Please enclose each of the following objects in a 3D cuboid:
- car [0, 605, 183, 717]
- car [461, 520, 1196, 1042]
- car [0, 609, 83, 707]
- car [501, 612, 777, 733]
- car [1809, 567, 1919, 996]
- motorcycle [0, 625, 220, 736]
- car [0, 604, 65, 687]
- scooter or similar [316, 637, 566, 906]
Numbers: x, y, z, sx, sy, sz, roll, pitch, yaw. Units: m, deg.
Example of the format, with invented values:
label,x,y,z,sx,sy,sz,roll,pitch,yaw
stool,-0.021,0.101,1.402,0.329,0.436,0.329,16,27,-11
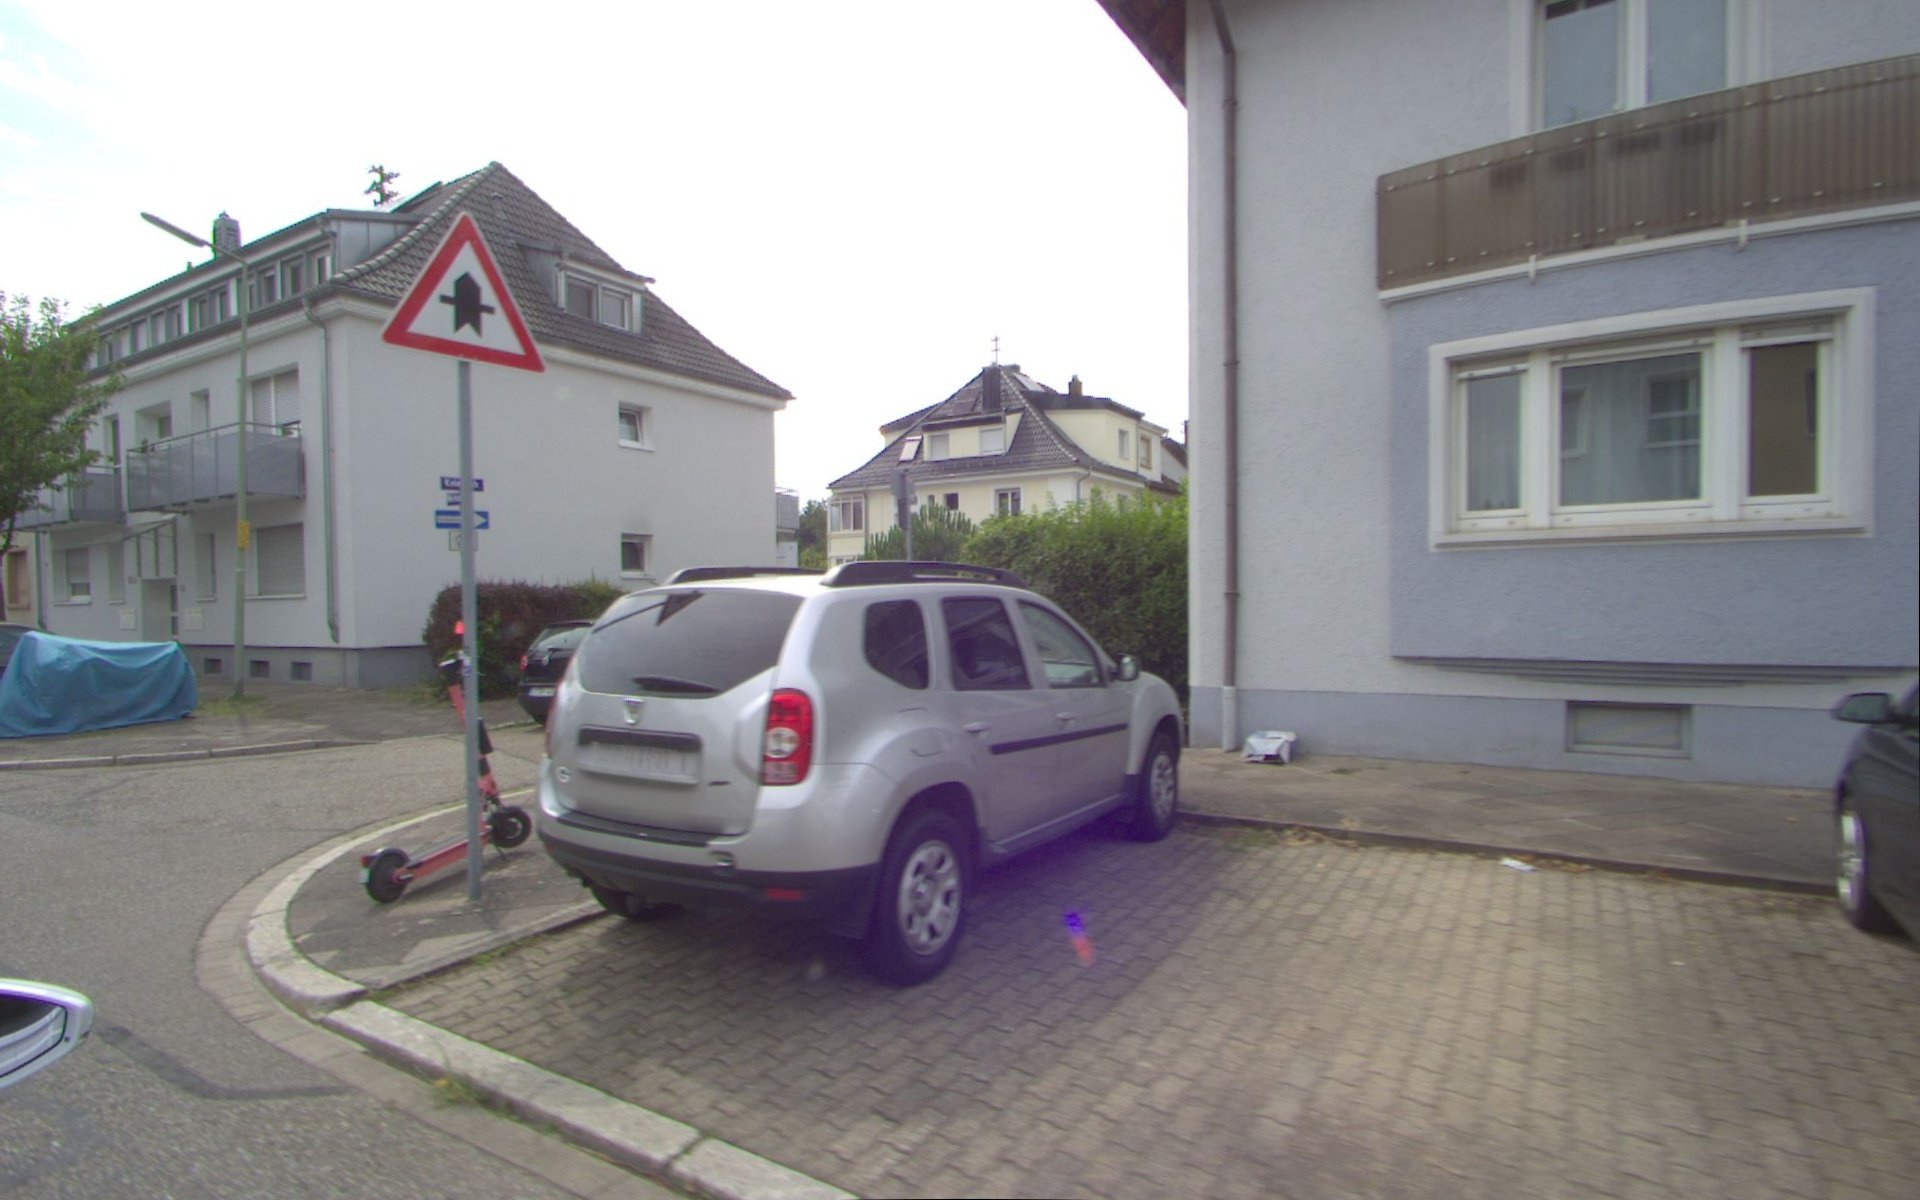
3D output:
label,x,y,z,sx,sy,sz,roll,pitch,yaw
car,-13.154,0.838,13.590,1.748,1.384,3.736,0,2,34
car,-0.269,0.599,5.334,1.841,1.654,3.916,0,0,32
car,-15.448,0.924,14.723,1.537,1.431,3.508,0,2,33
car,-4.509,0.939,14.637,1.637,1.462,3.799,0,0,28
car,4.062,0.623,3.071,1.688,1.441,3.976,0,2,33
motorcycle,-10.800,0.946,12.615,0.926,1.227,2.189,0,0,31
car,-19.343,0.920,18.395,1.698,1.539,3.976,0,2,32
scooter or similar,-2.841,0.878,5.610,0.415,1.260,1.239,-1,2,20
